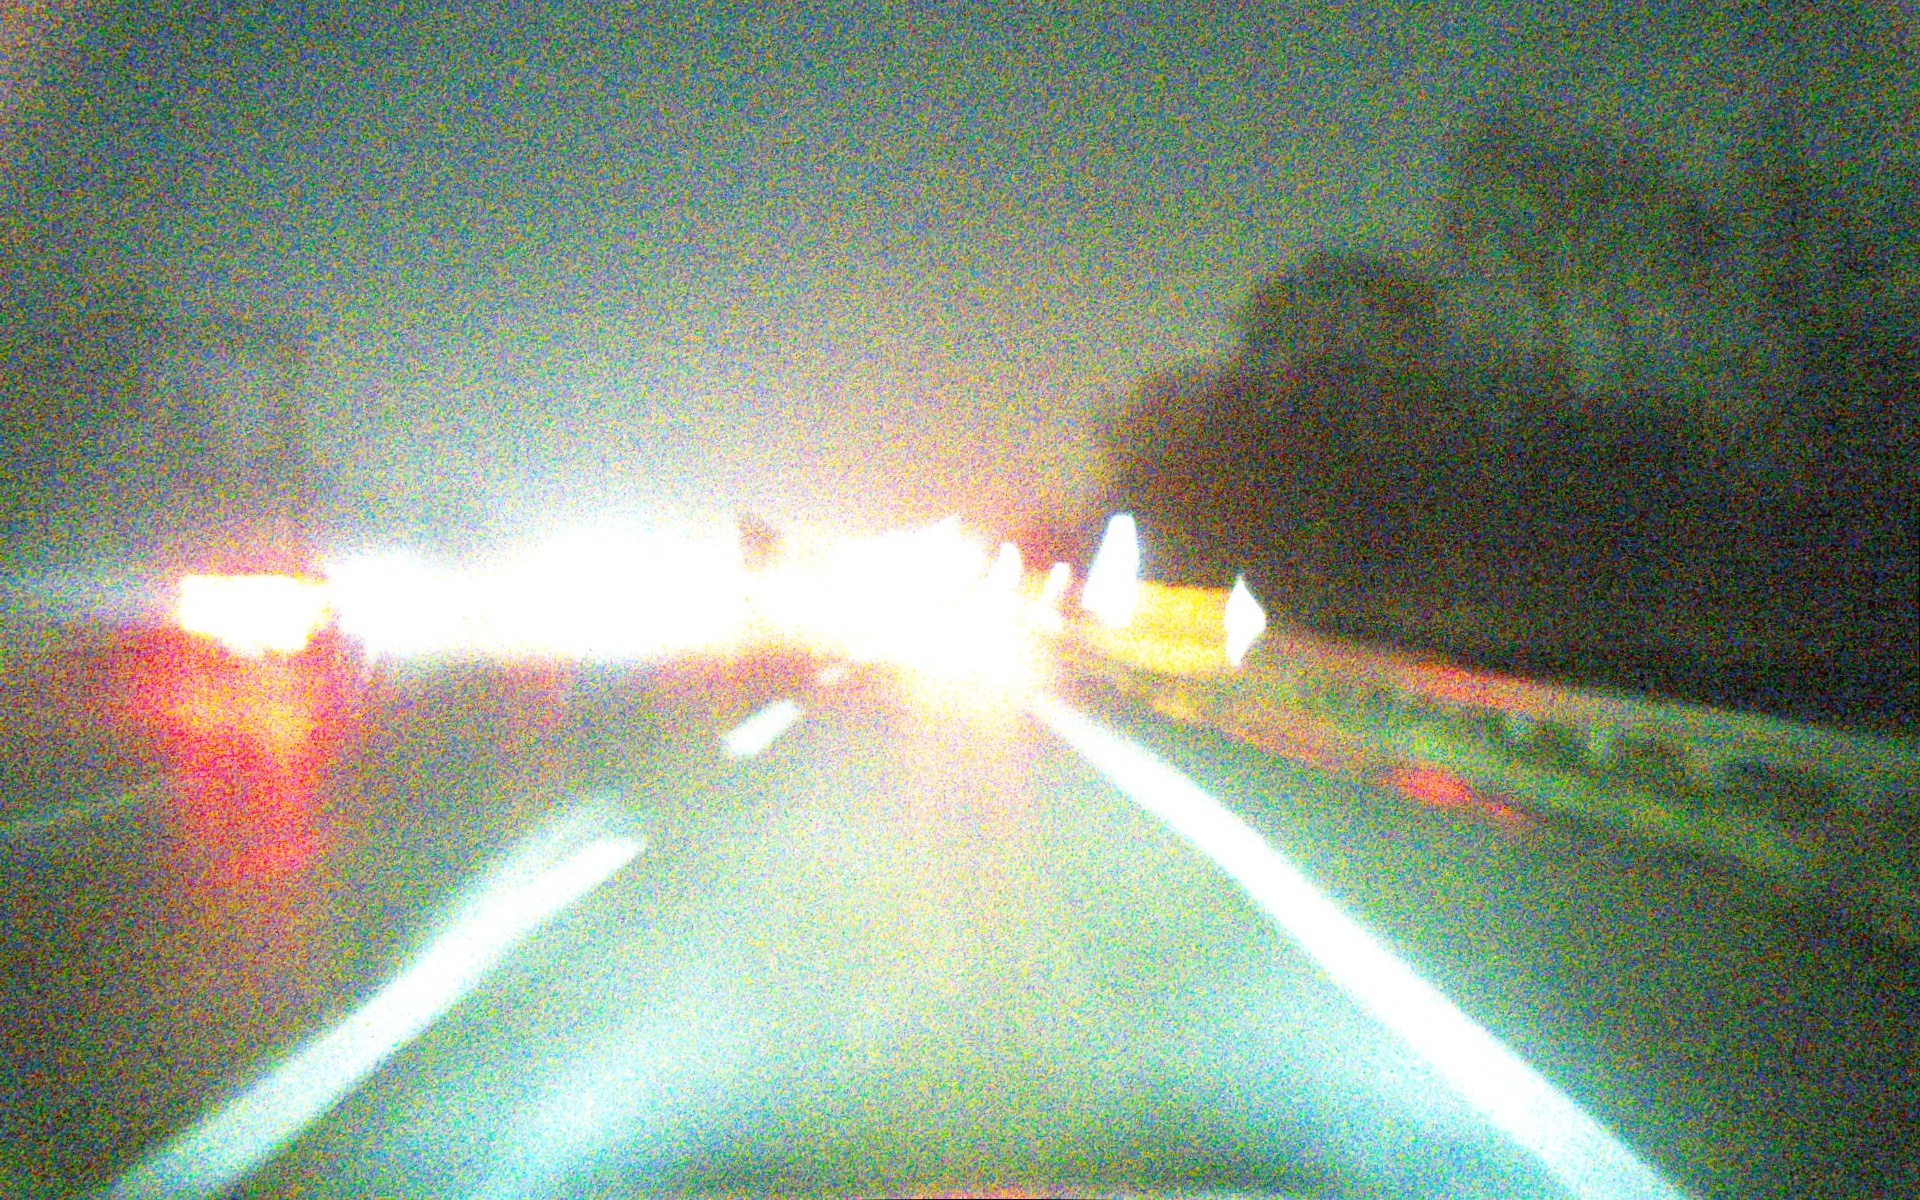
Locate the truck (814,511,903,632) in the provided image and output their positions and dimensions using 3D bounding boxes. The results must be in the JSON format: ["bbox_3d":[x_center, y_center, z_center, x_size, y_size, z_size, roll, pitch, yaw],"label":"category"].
[{"bbox_3d":[-5.094,-1.356,85.392,4.125,5.747,11.463,1,0,-2],"label":"truck"}]

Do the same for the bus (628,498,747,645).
[{"bbox_3d":[-9.295,-0.872,57.629,3.036,4.587,10.903,1,0,-4],"label":"bus"}]

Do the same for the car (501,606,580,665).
[{"bbox_3d":[-12.546,1.034,49.670,1.661,1.679,3.836,1,0,-5],"label":"car"}]

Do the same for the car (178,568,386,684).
[{"bbox_3d":[-10.326,0.383,25.504,1.956,1.624,3.993,1,0,-7],"label":"car"}]

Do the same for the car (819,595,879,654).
[{"bbox_3d":[-4.063,0.878,60.995,2.084,2.049,4.642,1,0,-3],"label":"car"}]

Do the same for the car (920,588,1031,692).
[{"bbox_3d":[0.243,0.738,31.750,1.953,1.839,3.999,1,0,-1],"label":"car"}]

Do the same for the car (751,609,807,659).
[{"bbox_3d":[-6.871,1.267,63.170,1.954,1.839,3.996,1,0,-4],"label":"car"}]

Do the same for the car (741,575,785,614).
[{"bbox_3d":[-9.654,-0.235,81.300,1.954,1.839,3.996,1,0,-4],"label":"car"}]

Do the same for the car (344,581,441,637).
[{"bbox_3d":[-20.186,0.314,59.014,1.842,1.875,5.058,1,0,-2],"label":"car"}]

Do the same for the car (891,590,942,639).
[{"bbox_3d":[-1.935,0.634,72.319,2.084,2.049,4.642,1,0,-3],"label":"car"}]

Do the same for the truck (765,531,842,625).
[{"bbox_3d":[-10.078,-1.311,107.887,4.125,5.747,11.463,1,0,-2],"label":"truck"}]
